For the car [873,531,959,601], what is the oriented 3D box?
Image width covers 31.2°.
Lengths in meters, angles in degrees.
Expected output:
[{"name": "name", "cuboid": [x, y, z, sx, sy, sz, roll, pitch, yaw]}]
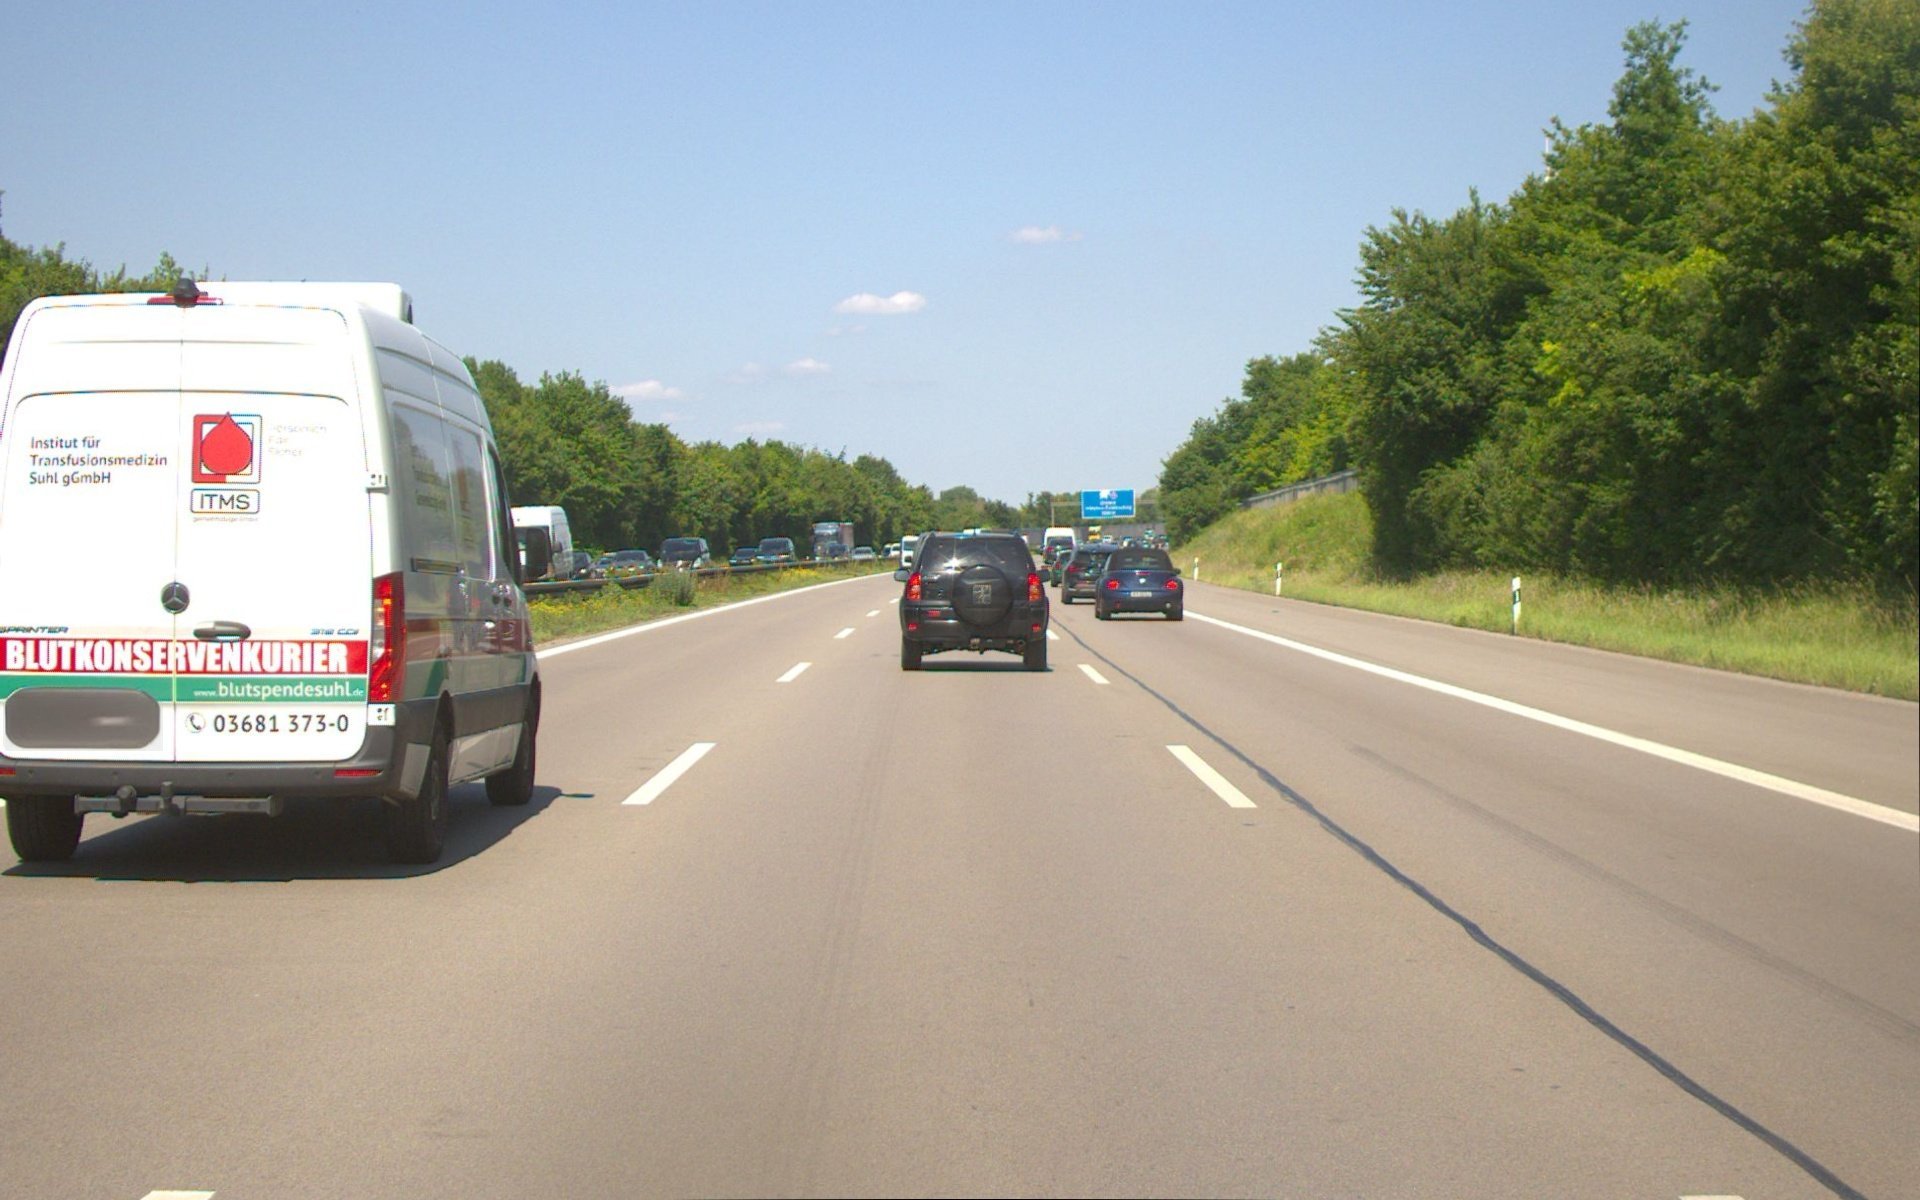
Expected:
[{"name": "car", "cuboid": [-1.085, -0.878, 87.259, 1.993, 1.700, 4.336, -1, 1, 2]}]

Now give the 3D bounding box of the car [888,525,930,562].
[{"name": "car", "cuboid": [-2.802, -3.159, 191.383, 1.994, 2.007, 4.949, -1, 1, 3]}]

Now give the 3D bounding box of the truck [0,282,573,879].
[{"name": "truck", "cuboid": [-3.416, -0.155, 18.100, 1.993, 2.533, 6.692, 1, 1, 0]}]

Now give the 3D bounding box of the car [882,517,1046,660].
[{"name": "car", "cuboid": [0.019, -0.144, 42.225, 1.906, 1.659, 4.000, 0, 0, -1]}]

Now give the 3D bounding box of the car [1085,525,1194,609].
[{"name": "car", "cuboid": [3.719, -0.676, 71.792, 1.993, 1.678, 4.000, 0, 0, -1]}]

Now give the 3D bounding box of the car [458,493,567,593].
[{"name": "car", "cuboid": [-11.954, -1.533, 92.161, 2.070, 2.547, 6.401, -1, 1, 0]}]

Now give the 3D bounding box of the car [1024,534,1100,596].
[{"name": "car", "cuboid": [2.706, -0.914, 91.827, 1.842, 1.606, 4.000, 0, 0, -1]}]

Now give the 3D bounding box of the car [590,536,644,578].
[{"name": "car", "cuboid": [-15.389, -1.922, 154.417, 1.993, 1.848, 4.499, 0, 0, 0]}]

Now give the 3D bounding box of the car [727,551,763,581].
[{"name": "car", "cuboid": [-13.409, -2.121, 214.400, 1.993, 1.848, 4.499, 0, 0, 0]}]

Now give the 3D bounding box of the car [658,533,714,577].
[{"name": "car", "cuboid": [-11.379, -1.894, 143.132, 1.906, 1.782, 5.060, -1, 1, 0]}]
